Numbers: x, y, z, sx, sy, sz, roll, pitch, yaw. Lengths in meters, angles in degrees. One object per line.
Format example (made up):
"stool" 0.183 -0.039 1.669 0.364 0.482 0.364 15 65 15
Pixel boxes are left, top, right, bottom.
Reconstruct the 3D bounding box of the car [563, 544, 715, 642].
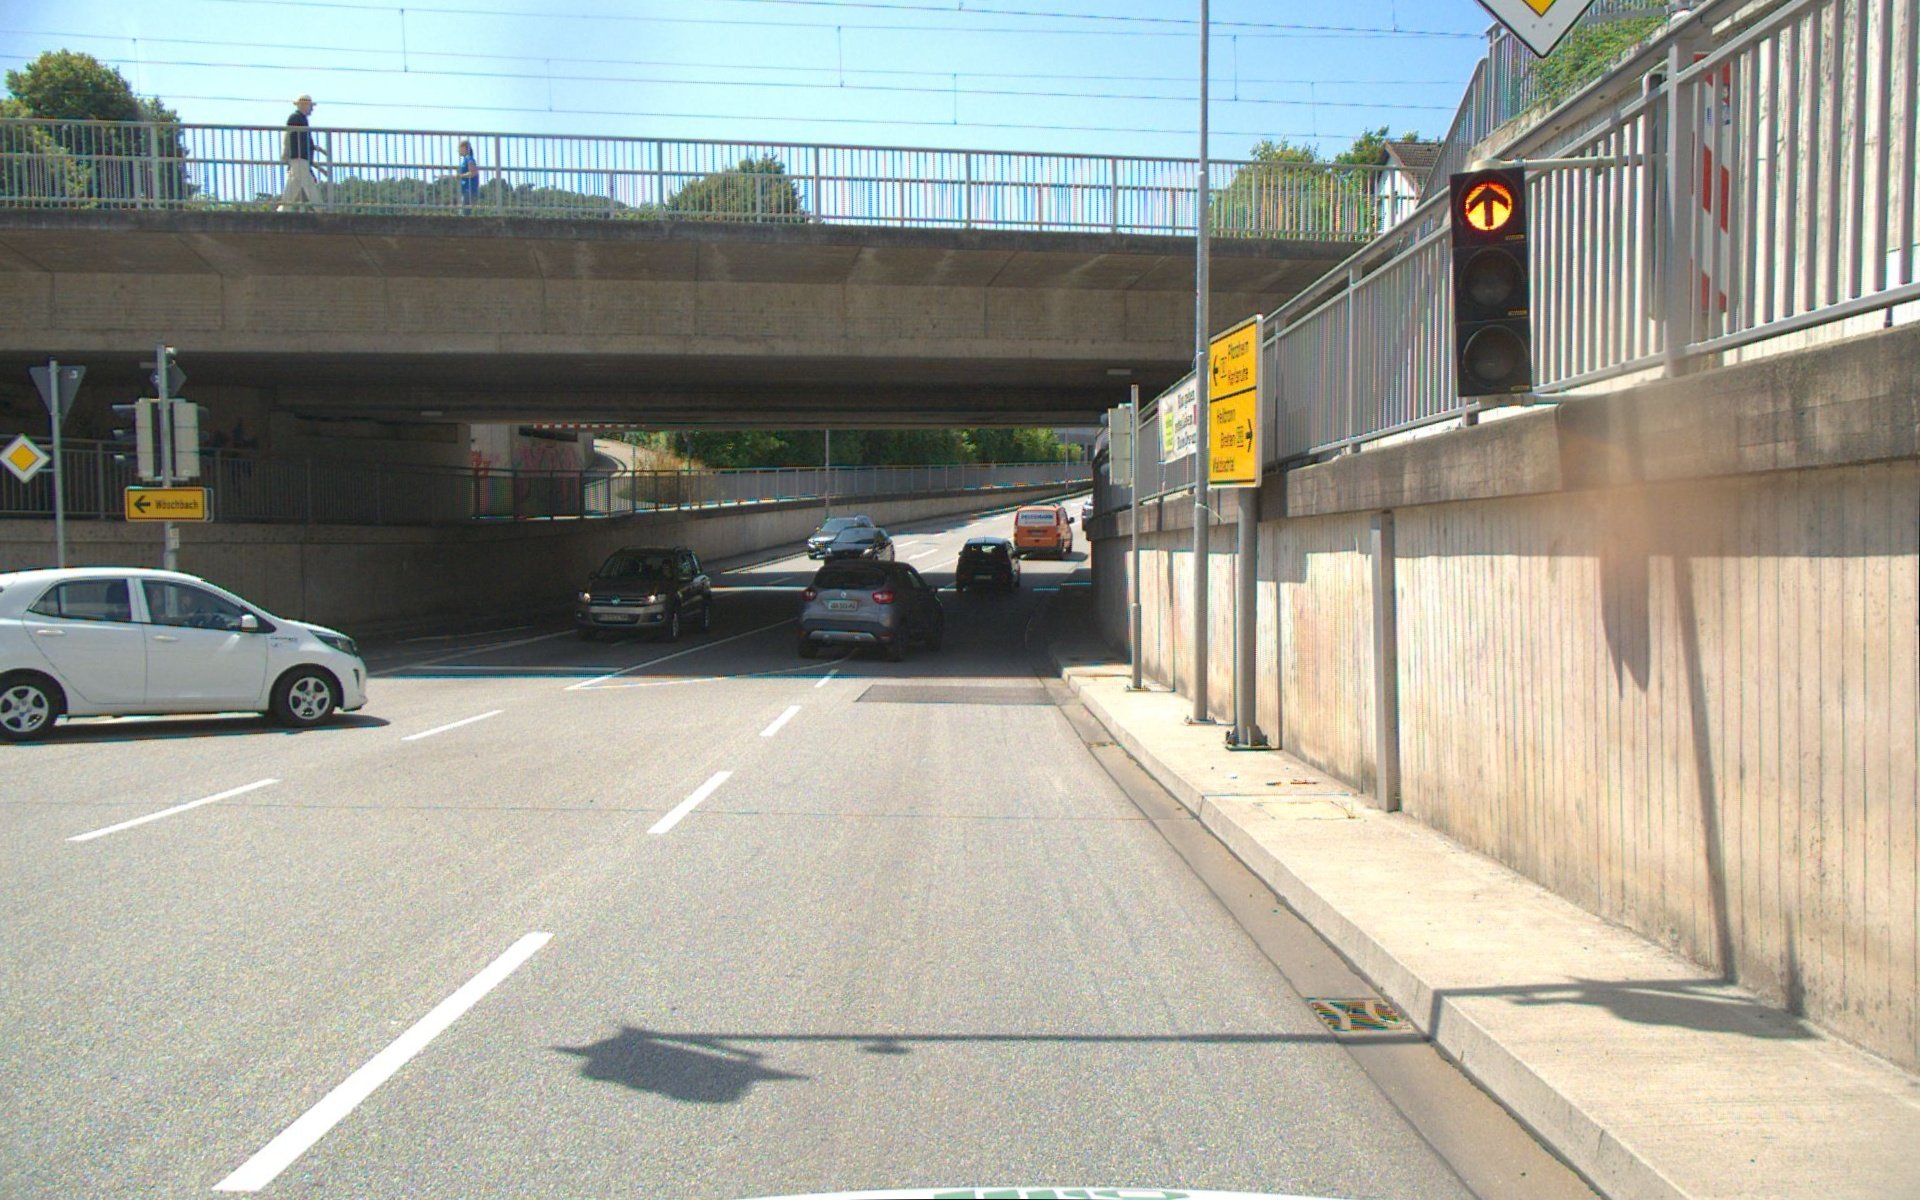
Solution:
"car" -5.919 -0.188 30.986 1.952 1.655 4.002 0 3 2

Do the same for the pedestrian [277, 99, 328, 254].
"pedestrian" -9.631 -6.189 24.230 0.565 2.117 0.534 -1 0 -11

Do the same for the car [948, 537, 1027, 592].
"car" 0.847 -1.074 48.651 1.951 1.534 4.004 0 2 6

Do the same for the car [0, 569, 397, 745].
"car" -7.622 0.473 15.841 3.951 1.444 1.711 -2 3 -33

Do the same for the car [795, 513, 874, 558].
"car" -4.677 -2.453 62.423 1.951 1.616 4.005 1 3 12

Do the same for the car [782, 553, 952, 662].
"car" -1.483 0.060 27.912 1.951 1.616 4.005 1 3 11

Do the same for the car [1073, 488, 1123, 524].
"car" 6.507 -4.381 77.606 1.766 1.646 4.004 1 3 13

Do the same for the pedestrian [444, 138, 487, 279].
"pedestrian" -7.871 -6.222 26.341 0.529 2.117 0.534 -1 0 -8

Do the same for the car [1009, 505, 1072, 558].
"car" 3.117 -2.628 63.112 1.833 1.965 4.725 1 3 10

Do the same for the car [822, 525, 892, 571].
"car" -3.367 -1.751 54.683 1.744 1.461 4.004 0 3 5
